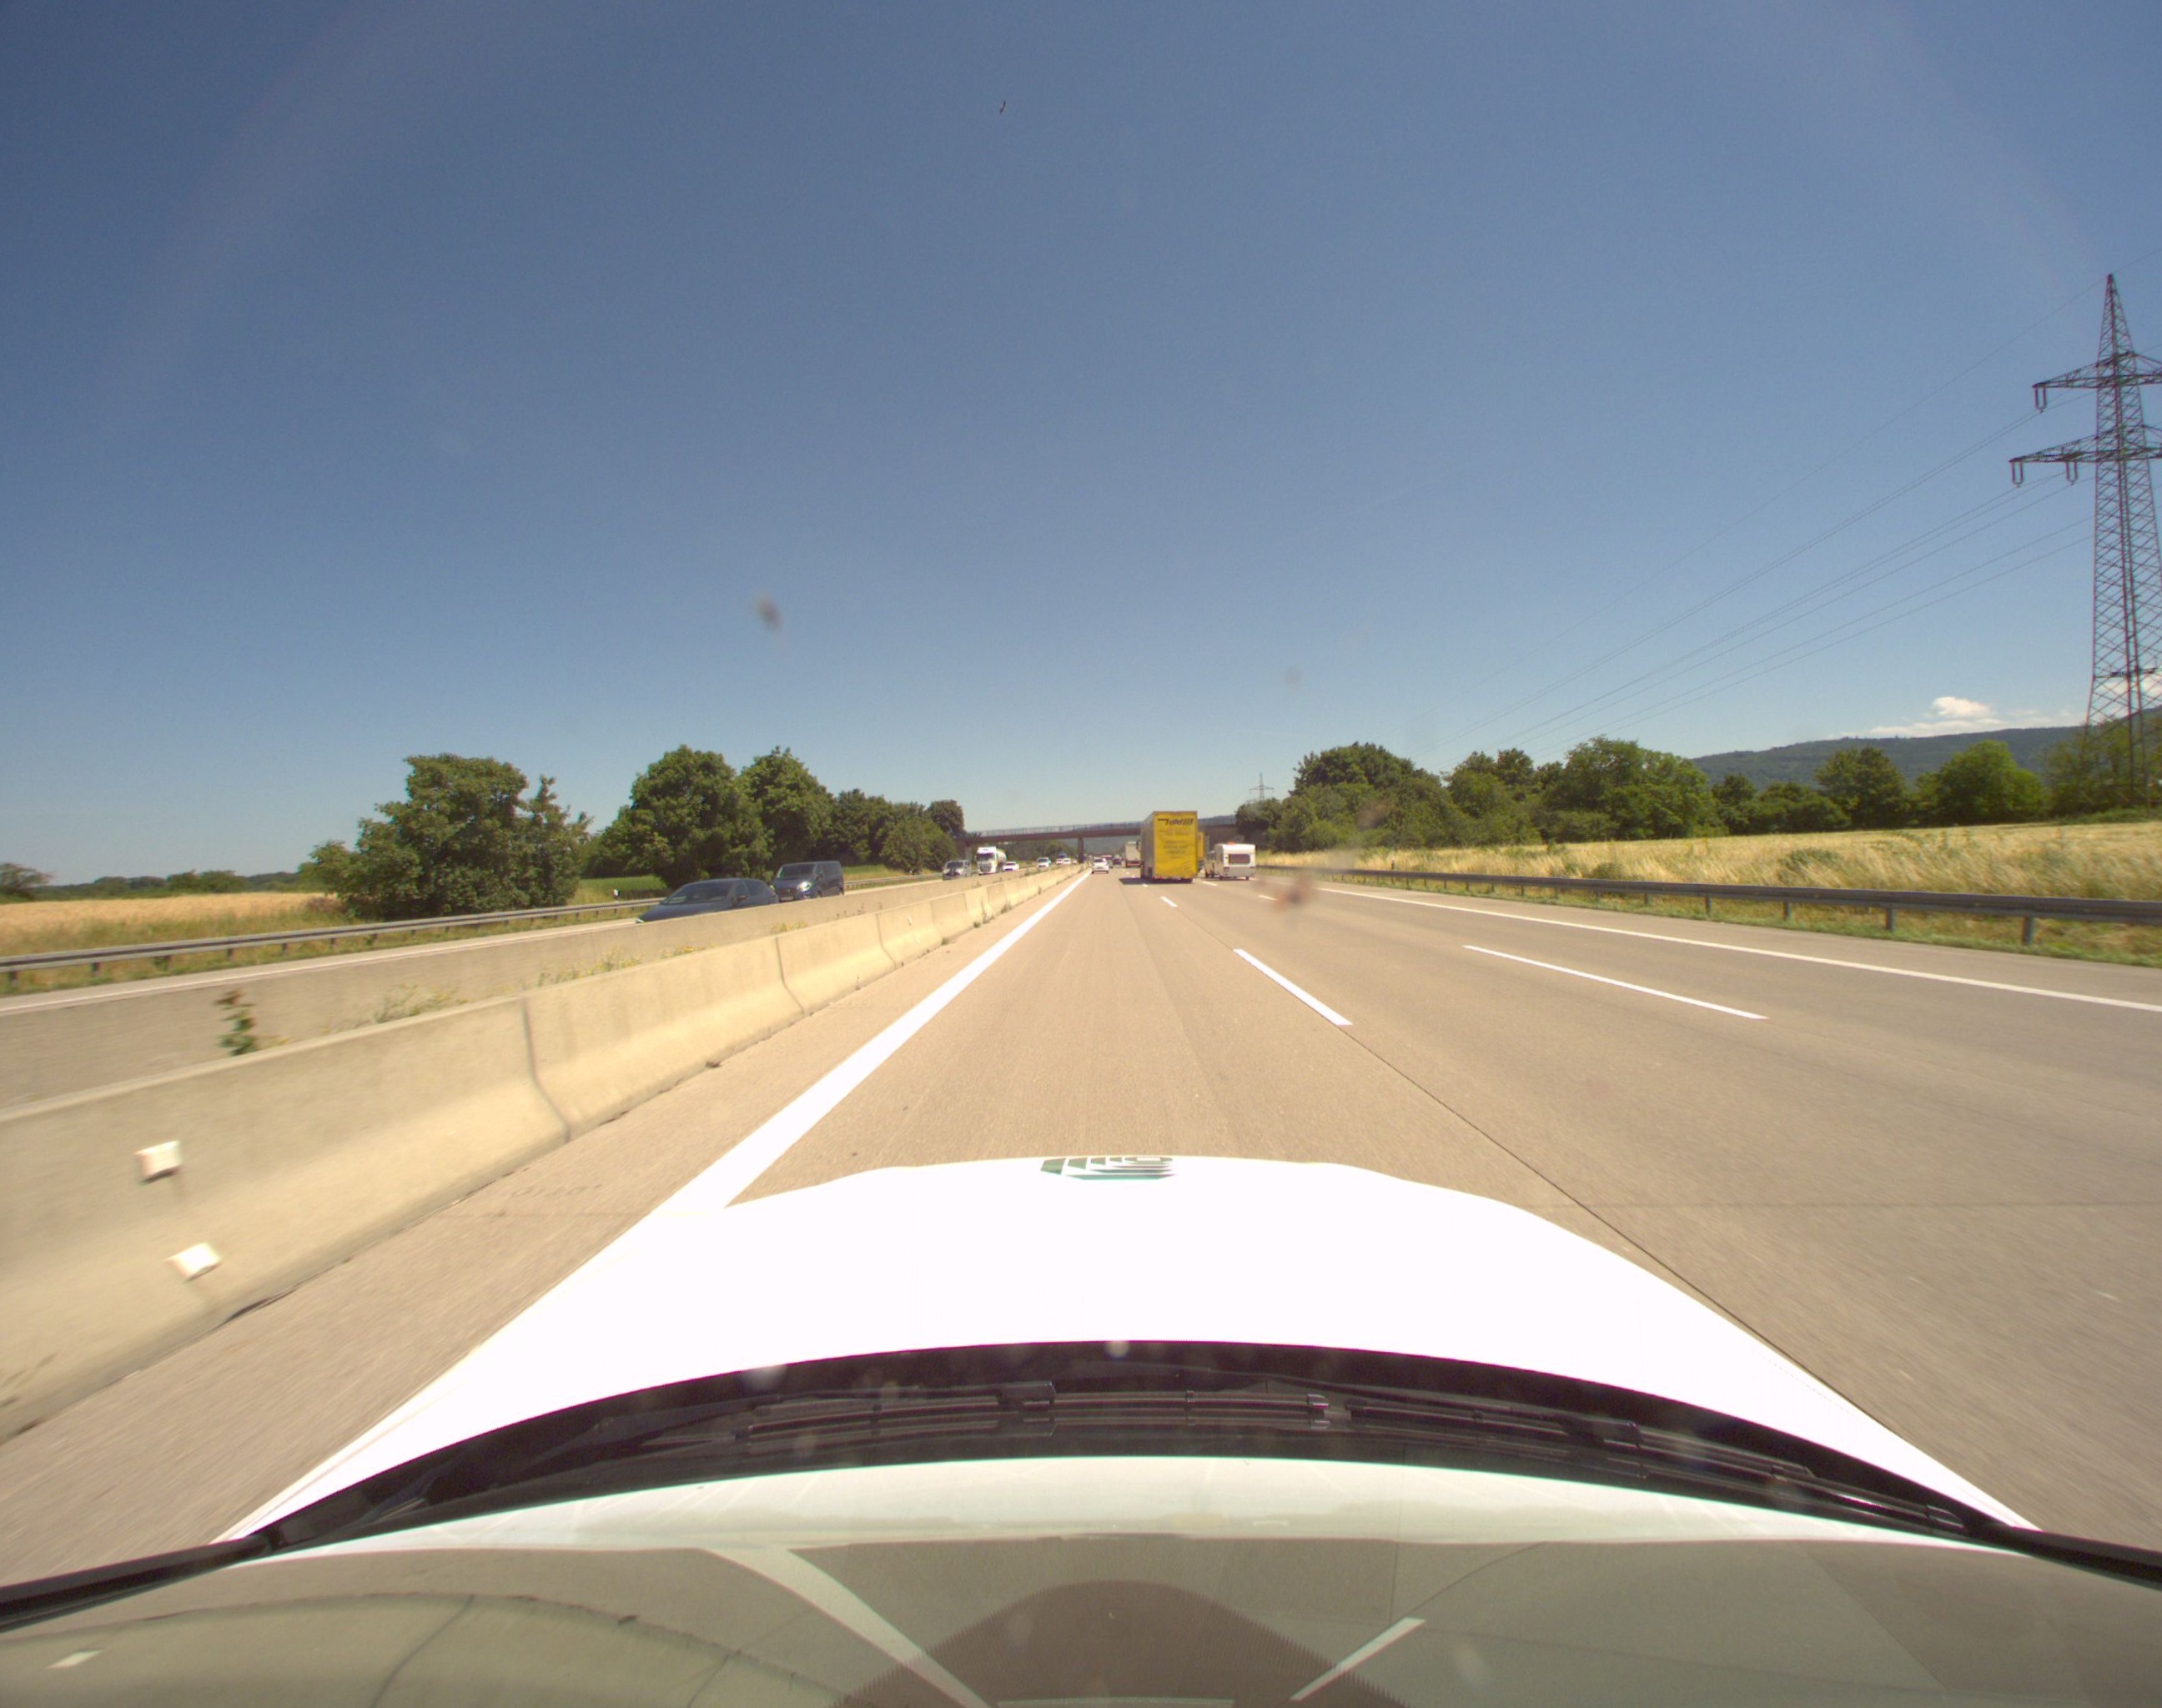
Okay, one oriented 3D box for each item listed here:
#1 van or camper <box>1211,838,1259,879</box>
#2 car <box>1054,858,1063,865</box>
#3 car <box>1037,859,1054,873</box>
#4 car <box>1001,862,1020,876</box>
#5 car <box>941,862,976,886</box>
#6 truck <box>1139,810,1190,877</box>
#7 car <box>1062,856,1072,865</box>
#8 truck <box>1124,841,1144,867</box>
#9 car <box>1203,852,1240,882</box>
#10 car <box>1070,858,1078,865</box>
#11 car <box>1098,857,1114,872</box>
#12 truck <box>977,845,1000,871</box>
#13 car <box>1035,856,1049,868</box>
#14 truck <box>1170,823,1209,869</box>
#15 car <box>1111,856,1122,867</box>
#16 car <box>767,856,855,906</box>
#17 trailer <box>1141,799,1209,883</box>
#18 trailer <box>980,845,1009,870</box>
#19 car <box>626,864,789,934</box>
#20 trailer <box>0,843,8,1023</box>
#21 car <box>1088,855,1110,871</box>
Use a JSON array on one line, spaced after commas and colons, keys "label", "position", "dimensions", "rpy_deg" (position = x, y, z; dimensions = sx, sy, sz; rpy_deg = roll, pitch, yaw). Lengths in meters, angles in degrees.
[{"label": "van or camper", "position": [9.946, 0.279, 53.049], "dimensions": [2.216, 2.531, 5.432], "rpy_deg": [0, 0, 1]}, {"label": "car", "position": [-6.148, 2.134, 222.832], "dimensions": [1.986, 1.807, 4.001], "rpy_deg": [0, 0, 1]}, {"label": "car", "position": [-5.066, 1.696, 116.235], "dimensions": [1.986, 1.735, 5.116], "rpy_deg": [-4, 0, 1]}, {"label": "car", "position": [-9.585, 2.024, 110.714], "dimensions": [1.916, 1.611, 4.687], "rpy_deg": [-3, 0, 1]}, {"label": "car", "position": [-10.769, 1.714, 72.211], "dimensions": [1.986, 1.939, 5.691], "rpy_deg": [-4, 0, 2]}, {"label": "truck", "position": [5.864, -0.706, 58.071], "dimensions": [3.203, 4.563, 5.838], "rpy_deg": [0, 0, 2]}, {"label": "car", "position": [-3.163, 1.454, 181.333], "dimensions": [1.859, 1.980, 4.790], "rpy_deg": [-3, 0, 2]}, {"label": "truck", "position": [7.960, -0.011, 123.141], "dimensions": [2.809, 3.761, 6.286], "rpy_deg": [0, 0, 1]}, {"label": "car", "position": [9.940, 0.896, 57.815], "dimensions": [1.986, 2.013, 4.001], "rpy_deg": [0, 0, 1]}, {"label": "car", "position": [-1.867, 1.952, 219.246], "dimensions": [1.859, 1.839, 4.790], "rpy_deg": [-2, 0, 2]}, {"label": "car", "position": [3.726, 1.521, 118.433], "dimensions": [2.245, 2.013, 4.300], "rpy_deg": [0, 0, 3]}, {"label": "truck", "position": [-13.192, 0.500, 116.035], "dimensions": [2.592, 3.589, 4.721], "rpy_deg": [0, 0, 1]}, {"label": "car", "position": [-7.485, 1.553, 156.336], "dimensions": [1.986, 2.138, 5.884], "rpy_deg": [-4, 0, 2]}, {"label": "truck", "position": [10.898, -0.762, 82.965], "dimensions": [2.987, 4.314, 9.688], "rpy_deg": [0, 0, 2]}, {"label": "car", "position": [7.114, 1.490, 163.482], "dimensions": [1.986, 2.013, 4.001], "rpy_deg": [0, 0, 1]}, {"label": "car", "position": [-11.810, 1.101, 36.044], "dimensions": [1.924, 2.000, 5.519], "rpy_deg": [0, 0, 1]}, {"label": "trailer", "position": [5.631, -0.703, 51.405], "dimensions": [3.203, 4.563, 13.463], "rpy_deg": [0, 0, 2]}, {"label": "trailer", "position": [-12.960, 0.461, 123.357], "dimensions": [2.564, 3.630, 12.860], "rpy_deg": [0, 0, 2]}, {"label": "car", "position": [-8.139, 0.924, 18.163], "dimensions": [1.684, 1.331, 4.001], "rpy_deg": [0, 0, 1]}, {"label": "trailer", "position": [-16.560, 0.277, 4.200], "dimensions": [2.862, 4.198, 14.145], "rpy_deg": [-3, 0, 2]}, {"label": "car", "position": [1.818, 0.929, 81.418], "dimensions": [2.098, 1.536, 4.125], "rpy_deg": [0, 0, 3]}]
